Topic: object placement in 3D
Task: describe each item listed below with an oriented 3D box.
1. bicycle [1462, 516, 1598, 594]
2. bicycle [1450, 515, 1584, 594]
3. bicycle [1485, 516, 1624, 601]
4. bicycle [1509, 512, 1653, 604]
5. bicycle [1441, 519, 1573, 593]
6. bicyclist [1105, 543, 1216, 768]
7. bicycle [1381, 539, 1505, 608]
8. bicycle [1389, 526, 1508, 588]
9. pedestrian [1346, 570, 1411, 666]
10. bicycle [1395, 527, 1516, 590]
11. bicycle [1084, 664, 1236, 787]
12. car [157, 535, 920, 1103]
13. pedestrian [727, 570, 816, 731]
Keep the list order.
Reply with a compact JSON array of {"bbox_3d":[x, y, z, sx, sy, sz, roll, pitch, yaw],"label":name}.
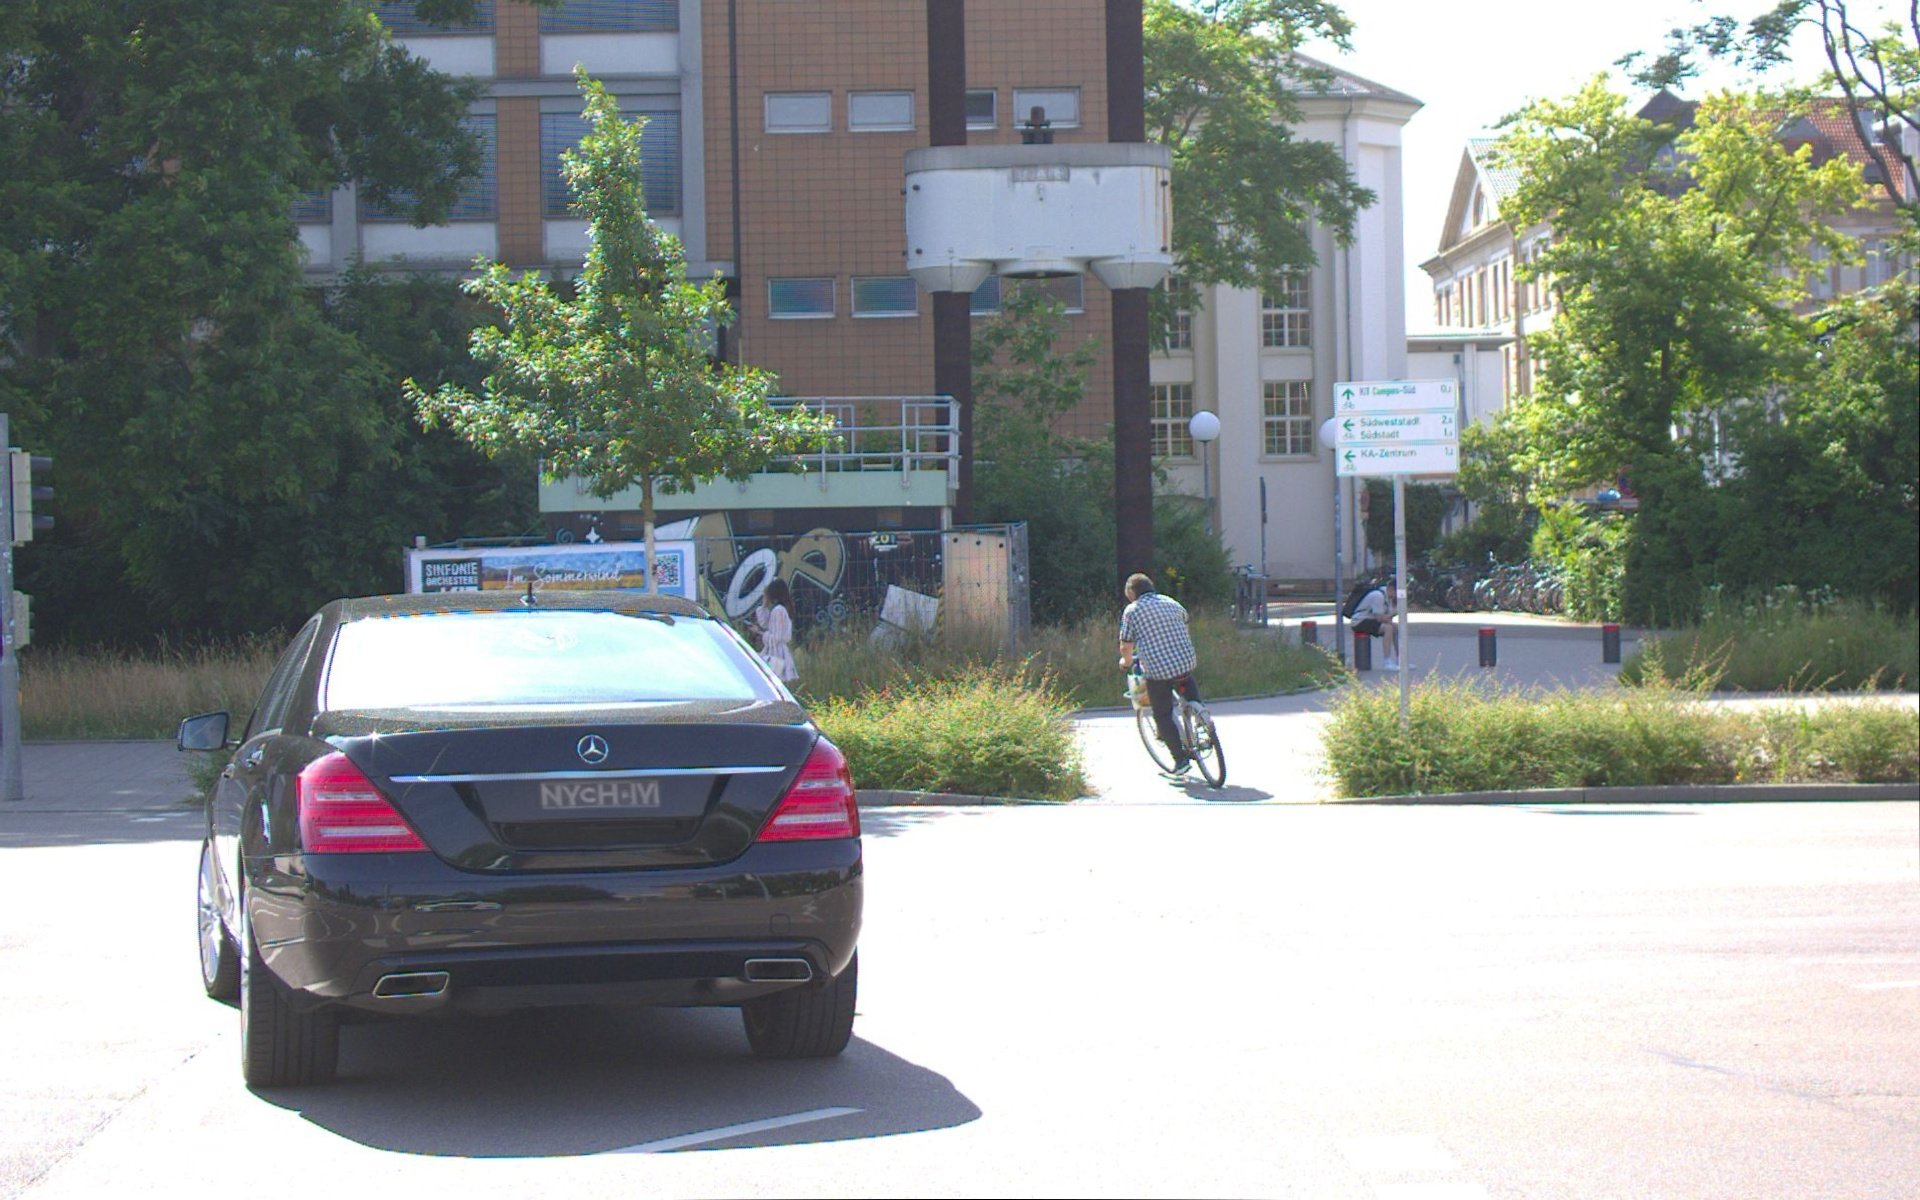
[{"bbox_3d":[12.560,-0.995,75.821,2.823,1.643,0.842,-2,1,-1],"label":"bicycle"},{"bbox_3d":[12.447,-1.021,76.899,2.823,1.653,0.842,-2,2,-1],"label":"bicycle"},{"bbox_3d":[12.850,-0.904,74.326,2.823,1.738,0.842,-2,1,-1],"label":"bicycle"},{"bbox_3d":[13.014,-0.884,72.067,2.823,1.830,0.842,-2,1,-1],"label":"bicycle"},{"bbox_3d":[12.375,-0.996,77.849,2.823,1.581,0.842,-2,1,-1],"label":"bicycle"},{"bbox_3d":[1.696,0.455,29.117,0.685,1.872,0.860,0,1,-15],"label":"bicyclist"},{"bbox_3d":[11.626,-0.643,82.874,2.823,1.553,0.842,-2,1,-1],"label":"bicycle"},{"bbox_3d":[12.247,-1.073,86.275,2.823,1.475,0.842,-2,1,-1],"label":"bicycle"},{"bbox_3d":[5.396,0.229,44.370,0.793,1.209,0.757,1,1,6],"label":"pedestrian"},{"bbox_3d":[12.265,-1.030,85.087,2.823,1.495,0.842,-2,1,-1],"label":"bicycle"},{"bbox_3d":[1.682,1.050,29.239,0.692,0.943,1.959,1,1,-15],"label":"bicycle"},{"bbox_3d":[-1.663,0.665,11.761,1.858,1.525,4.714,1,-2,-16],"label":"car"},{"bbox_3d":[-1.886,0.499,34.501,0.811,1.574,0.692,-1,0,1],"label":"pedestrian"}]
